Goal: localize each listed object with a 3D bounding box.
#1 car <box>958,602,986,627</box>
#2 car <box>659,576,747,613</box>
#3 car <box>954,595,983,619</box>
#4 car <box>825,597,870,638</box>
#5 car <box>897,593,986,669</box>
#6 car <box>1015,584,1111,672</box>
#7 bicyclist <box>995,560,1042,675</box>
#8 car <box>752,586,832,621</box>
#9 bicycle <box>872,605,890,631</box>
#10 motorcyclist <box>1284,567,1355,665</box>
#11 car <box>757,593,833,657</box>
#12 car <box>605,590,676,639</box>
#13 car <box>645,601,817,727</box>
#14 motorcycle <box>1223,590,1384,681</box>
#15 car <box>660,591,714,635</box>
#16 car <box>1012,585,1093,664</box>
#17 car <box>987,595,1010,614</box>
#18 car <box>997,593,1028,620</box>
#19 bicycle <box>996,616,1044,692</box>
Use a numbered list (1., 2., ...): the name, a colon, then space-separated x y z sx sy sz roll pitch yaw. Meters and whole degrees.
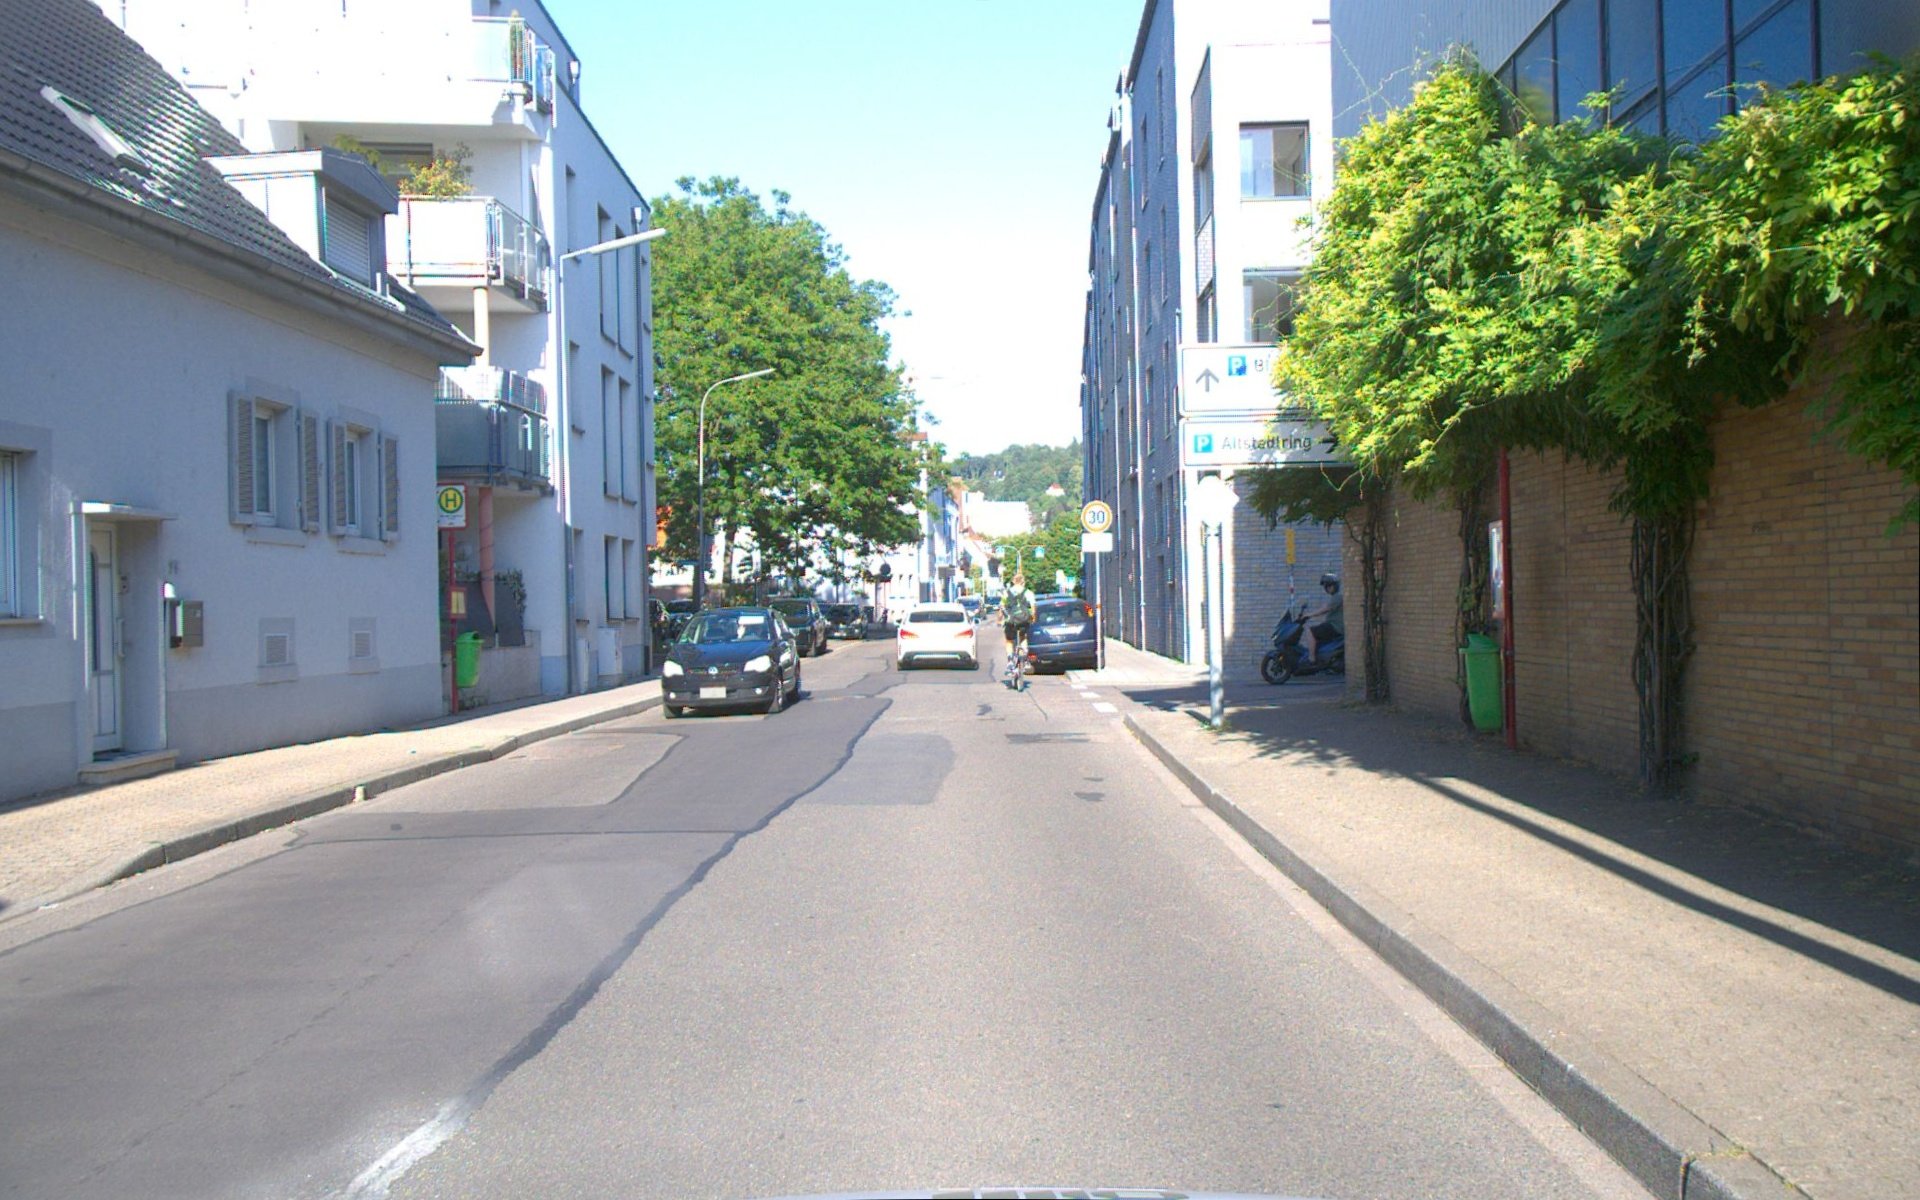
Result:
1. car: 0.864 0.994 113.246 1.629 1.603 3.916 -2 1 4
2. car: -12.260 -0.264 79.073 3.819 1.603 1.711 -2 1 4
3. car: 0.686 0.484 126.965 1.905 1.614 4.623 -5 0 3
4. car: -4.780 0.743 70.668 1.670 1.603 3.913 -2 1 -1
5. car: -0.444 0.649 36.642 1.805 1.517 4.143 -2 0 -2
6. car: 2.129 0.561 35.121 1.597 1.614 4.068 -5 0 -1
7. bicyclist: 0.944 0.282 26.906 0.684 1.821 1.041 -2 0 0
8. car: -8.583 0.171 84.857 3.820 1.603 1.710 -2 1 2
9. bicycle: -4.089 0.910 85.786 0.818 1.239 2.841 -2 1 -1
10. motorcyclist: 5.701 0.247 26.192 0.859 1.498 0.894 -2 0 28
11. car: -5.160 0.746 52.190 1.815 1.822 4.608 -2 1 1
12. car: -11.130 0.464 57.876 1.821 1.614 4.618 0 1 -4
13. car: -3.203 0.841 23.922 1.805 1.516 4.144 -5 0 0
14. motorcycle: 5.457 0.573 26.320 2.290 1.303 0.894 -4 -1 29
15. car: -11.358 0.510 69.023 1.754 1.719 3.963 0 1 -2
16. car: 2.170 0.534 39.651 1.630 1.732 3.914 -2 1 0
17. car: 3.728 0.392 159.464 1.905 1.614 4.624 -5 0 5
18. car: 3.686 0.445 117.121 1.816 1.822 4.605 -2 1 -3
19. bicycle: 0.959 0.852 26.928 0.684 1.150 2.403 -2 0 0
